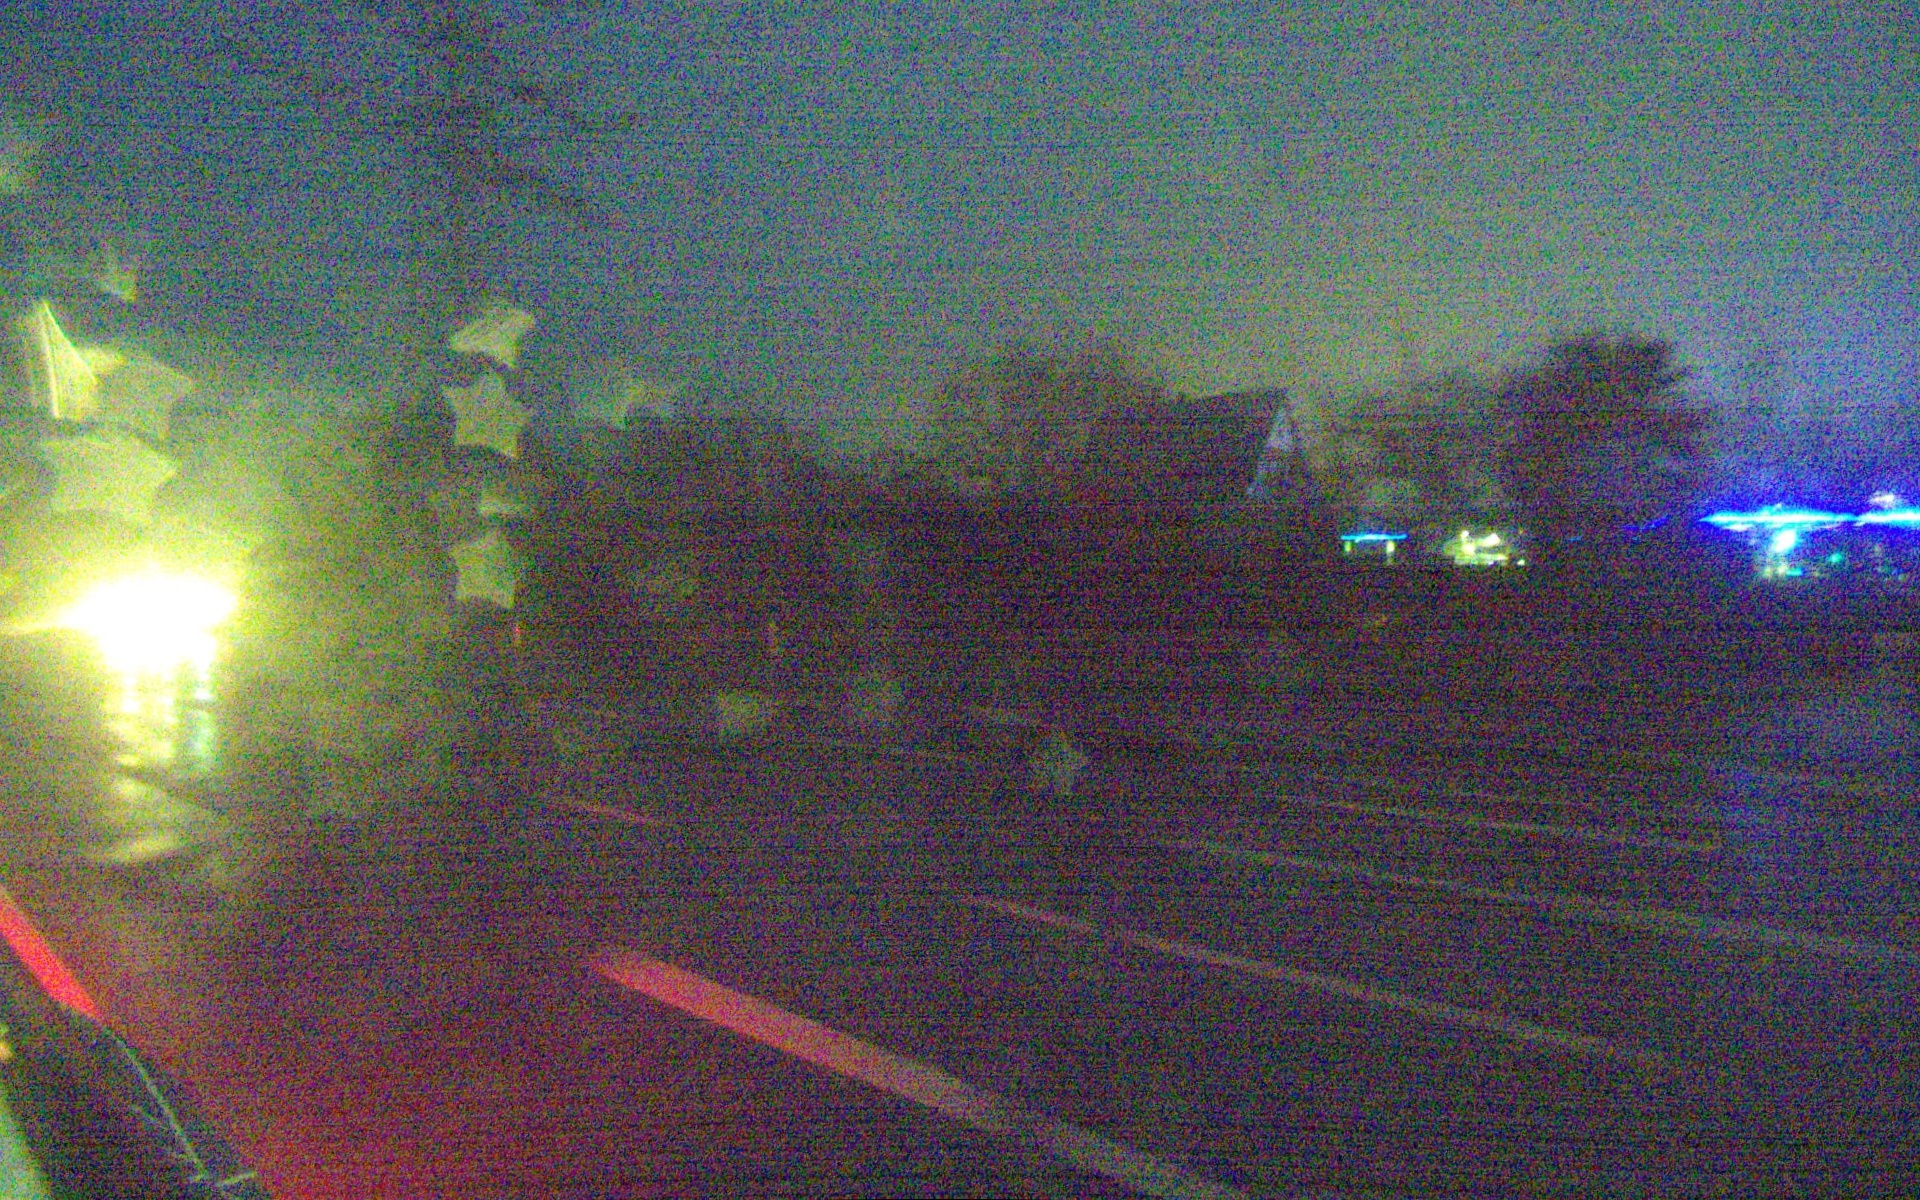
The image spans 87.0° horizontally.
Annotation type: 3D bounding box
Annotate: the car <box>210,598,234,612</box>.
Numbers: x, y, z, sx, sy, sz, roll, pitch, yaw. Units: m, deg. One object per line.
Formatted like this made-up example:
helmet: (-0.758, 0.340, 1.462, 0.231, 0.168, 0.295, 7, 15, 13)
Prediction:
car: (-97.865, 0.601, 134.291, 1.834, 1.760, 4.979, -1, 1, -27)
